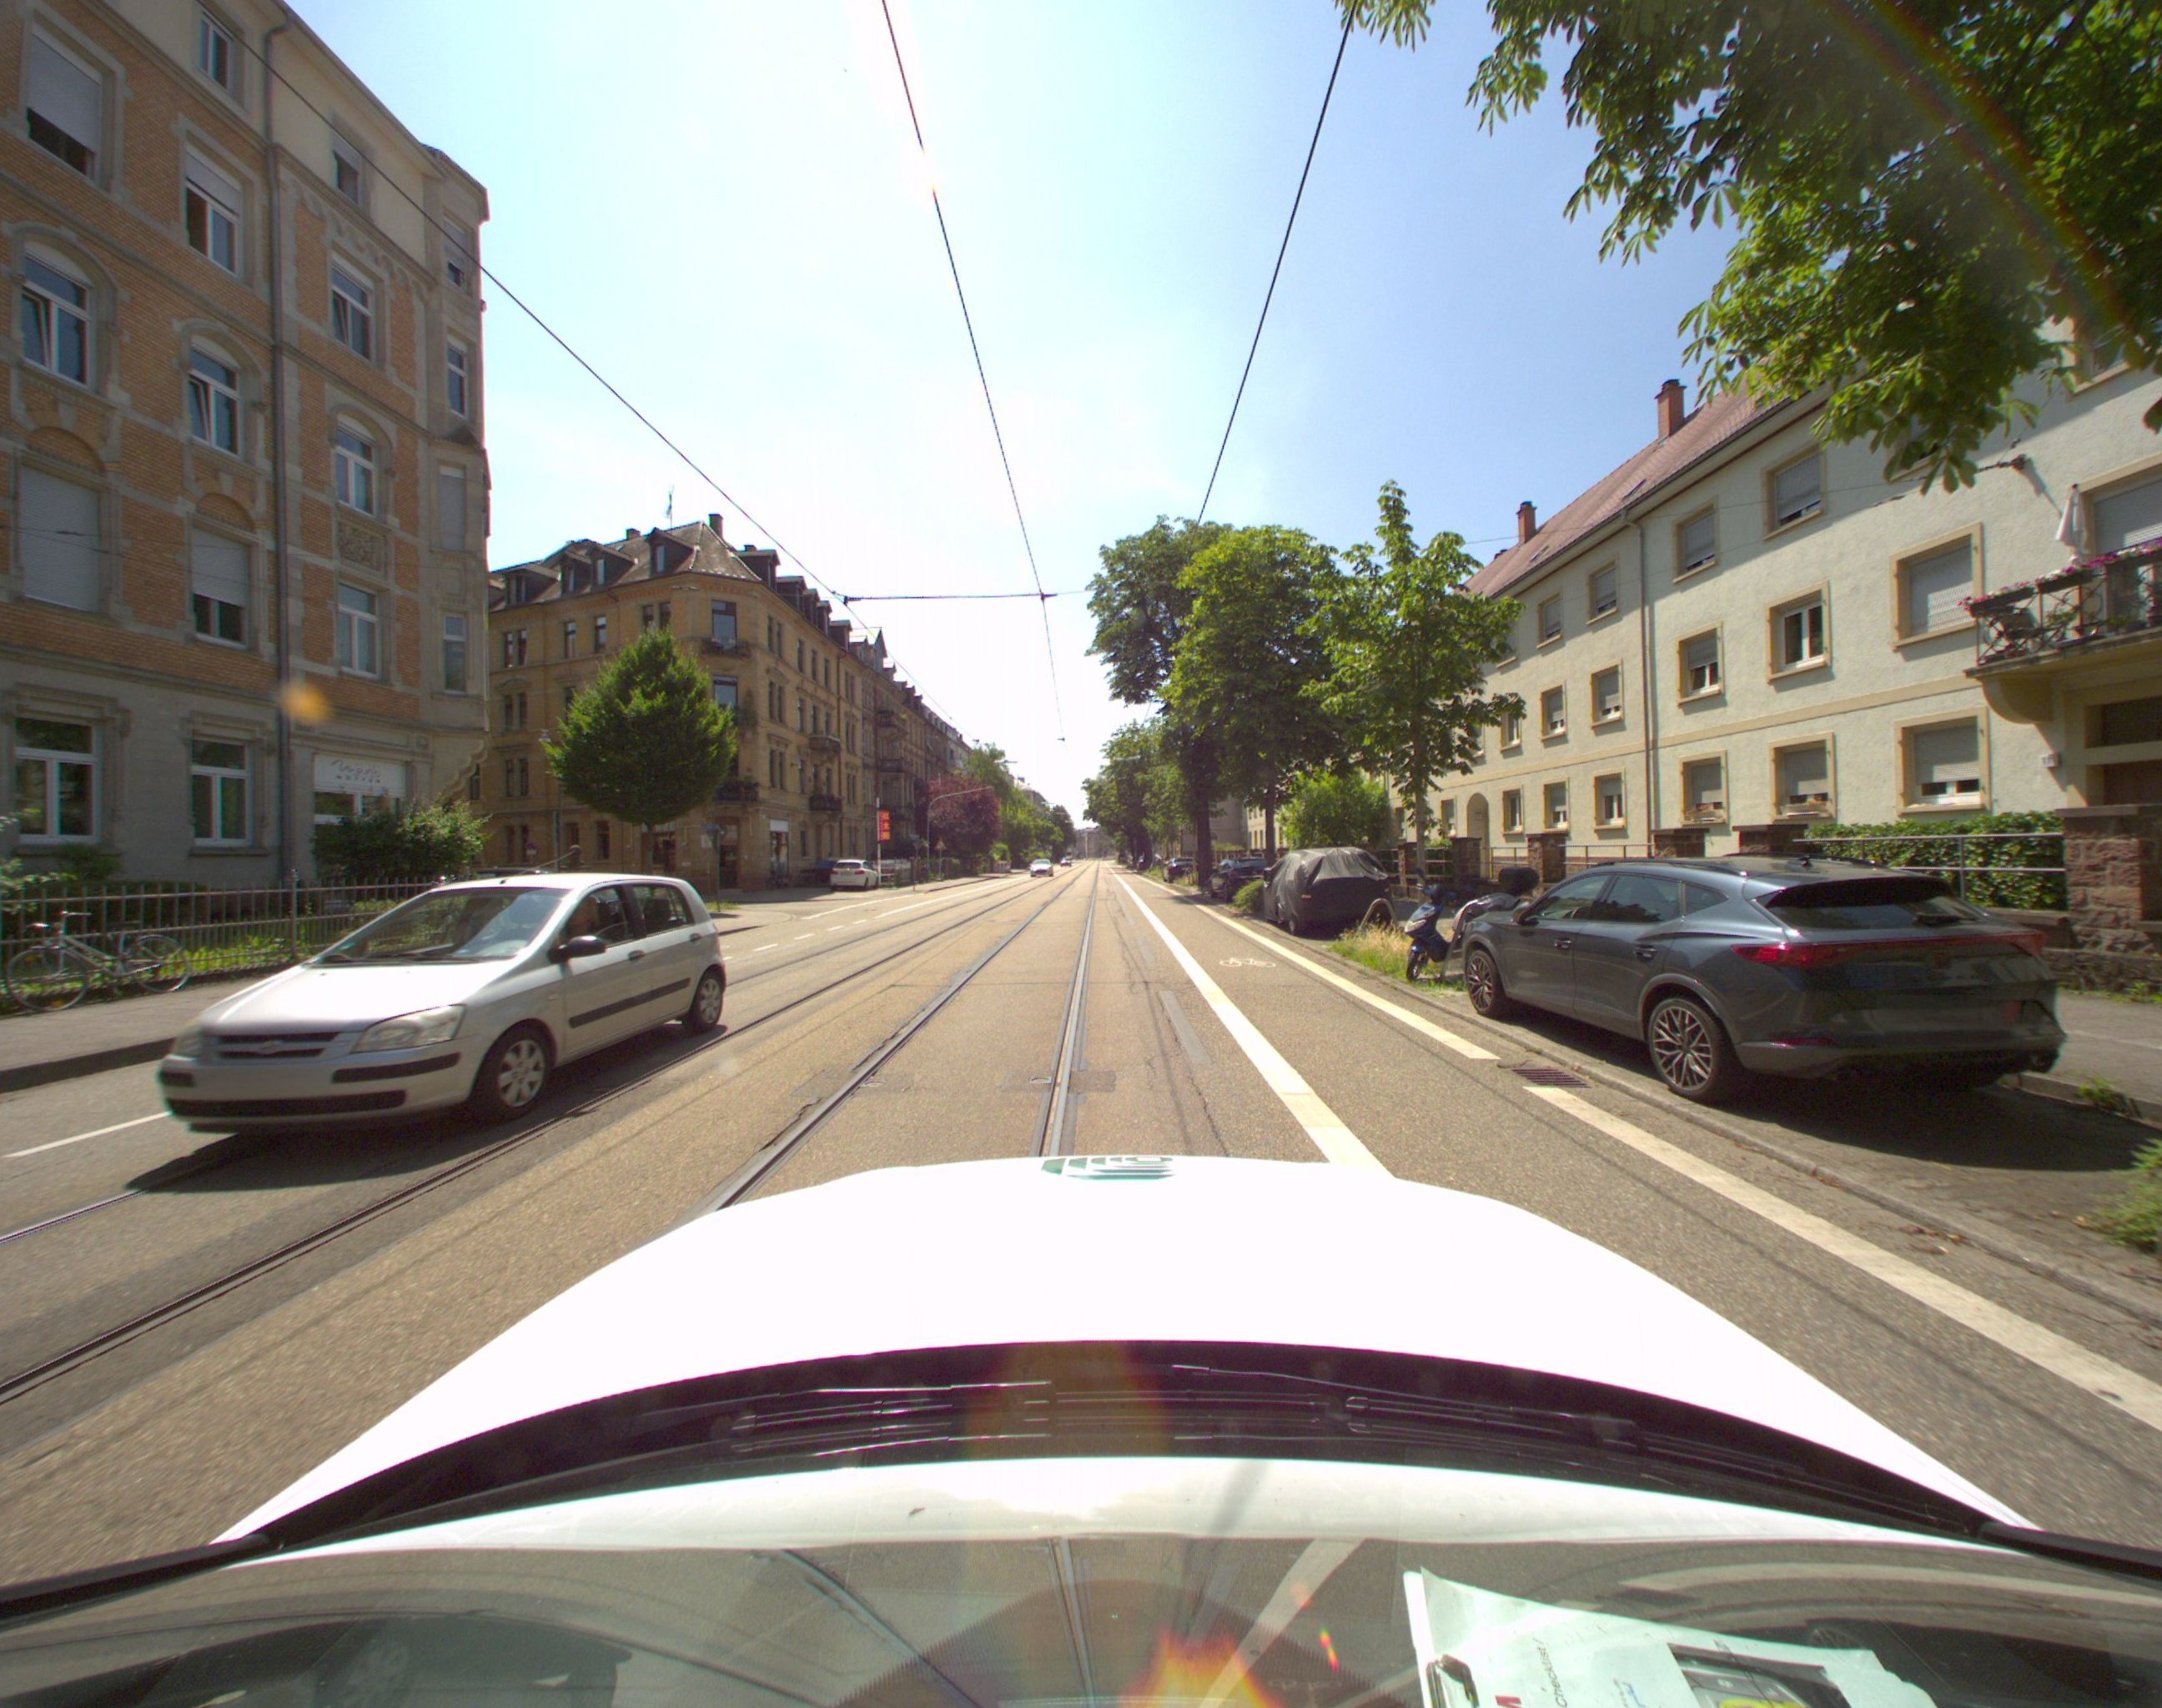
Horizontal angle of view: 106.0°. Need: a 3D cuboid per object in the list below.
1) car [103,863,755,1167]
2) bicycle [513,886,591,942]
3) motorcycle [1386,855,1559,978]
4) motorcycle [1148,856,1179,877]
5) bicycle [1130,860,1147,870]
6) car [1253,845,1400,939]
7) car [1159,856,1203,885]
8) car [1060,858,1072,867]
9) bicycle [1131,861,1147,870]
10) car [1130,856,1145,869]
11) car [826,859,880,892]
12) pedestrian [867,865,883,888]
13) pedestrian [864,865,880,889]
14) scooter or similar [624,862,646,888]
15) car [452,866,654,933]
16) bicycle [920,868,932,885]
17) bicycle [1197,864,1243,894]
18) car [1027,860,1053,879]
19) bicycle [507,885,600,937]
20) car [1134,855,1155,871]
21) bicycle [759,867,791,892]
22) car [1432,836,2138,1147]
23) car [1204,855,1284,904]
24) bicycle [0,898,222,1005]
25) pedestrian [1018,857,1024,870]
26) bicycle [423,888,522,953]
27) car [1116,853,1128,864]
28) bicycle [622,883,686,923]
[{"bbox_3d":[-4.205,0.863,6.252,1.679,1.449,4.000,-3,0,1],"label":"car"},{"bbox_3d":[-10.570,1.169,16.336,0.437,0.983,1.710,-2,0,0],"label":"bicycle"},{"bbox_3d":[4.954,0.762,10.350,1.912,1.433,0.670,-2,0,-8],"label":"motorcycle"},{"bbox_3d":[6.267,0.935,62.167,2.291,1.540,0.875,-2,0,44],"label":"motorcycle"},{"bbox_3d":[6.975,1.330,98.227,1.952,1.063,0.600,-2,-1,7],"label":"bicycle"},{"bbox_3d":[4.988,0.675,17.316,1.938,1.650,4.886,-2,0,4],"label":"car"},{"bbox_3d":[5.647,0.906,46.632,1.764,1.426,4.859,-2,0,-1],"label":"car"},{"bbox_3d":[-2.385,1.342,132.537,1.680,1.454,3.749,-2,0,1],"label":"car"},{"bbox_3d":[6.942,1.346,97.675,1.879,1.052,0.539,-2,-1,7],"label":"bicycle"},{"bbox_3d":[7.061,1.104,102.489,1.616,1.448,3.810,-5,-1,1],"label":"car"},{"bbox_3d":[-11.798,1.070,42.384,1.862,1.600,4.096,-1,0,-4],"label":"car"},{"bbox_3d":[-12.167,1.297,48.068,0.708,1.298,0.710,-4,0,-3],"label":"pedestrian"},{"bbox_3d":[-12.122,1.321,47.315,0.708,1.298,0.710,-4,0,-3],"label":"pedestrian"},{"bbox_3d":[-22.056,1.039,40.283,1.265,1.273,0.500,-3,0,42],"label":"scooter or similar"},{"bbox_3d":[-12.710,1.076,19.758,3.746,1.428,1.714,-2,-1,1],"label":"car"},{"bbox_3d":[-9.769,1.396,51.439,0.452,1.003,1.805,-2,0,-2],"label":"bicycle"},{"bbox_3d":[5.460,0.984,31.940,1.651,1.078,0.605,-2,0,-7],"label":"bicycle"},{"bbox_3d":[-3.379,1.218,67.093,1.749,1.424,4.002,-3,0,2],"label":"car"},{"bbox_3d":[-11.469,1.231,17.719,1.697,1.037,0.552,-2,0,5],"label":"bicycle"},{"bbox_3d":[6.483,0.900,83.711,1.768,1.501,4.305,-3,0,0],"label":"car"},{"bbox_3d":[-15.689,1.283,41.851,0.635,1.187,2.147,-2,0,4],"label":"bicycle"},{"bbox_3d":[4.670,0.709,6.504,1.727,1.552,4.452,-2,0,-1],"label":"car"},{"bbox_3d":[5.372,0.799,27.400,1.690,1.419,4.355,-2,0,-1],"label":"car"},{"bbox_3d":[-10.821,1.039,9.152,0.495,0.987,1.710,2,0,0],"label":"bicycle"},{"bbox_3d":[-7.978,1.272,108.015,0.749,1.629,0.832,-1,-1,-5],"label":"pedestrian"},{"bbox_3d":[-10.631,1.135,14.295,0.437,0.983,1.710,-2,0,0],"label":"bicycle"},{"bbox_3d":[7.854,0.916,156.773,1.986,2.035,4.698,-2,0,1],"label":"car"},{"bbox_3d":[-13.910,1.569,26.568,0.495,1.228,1.861,-3,-3,29],"label":"bicycle"}]
